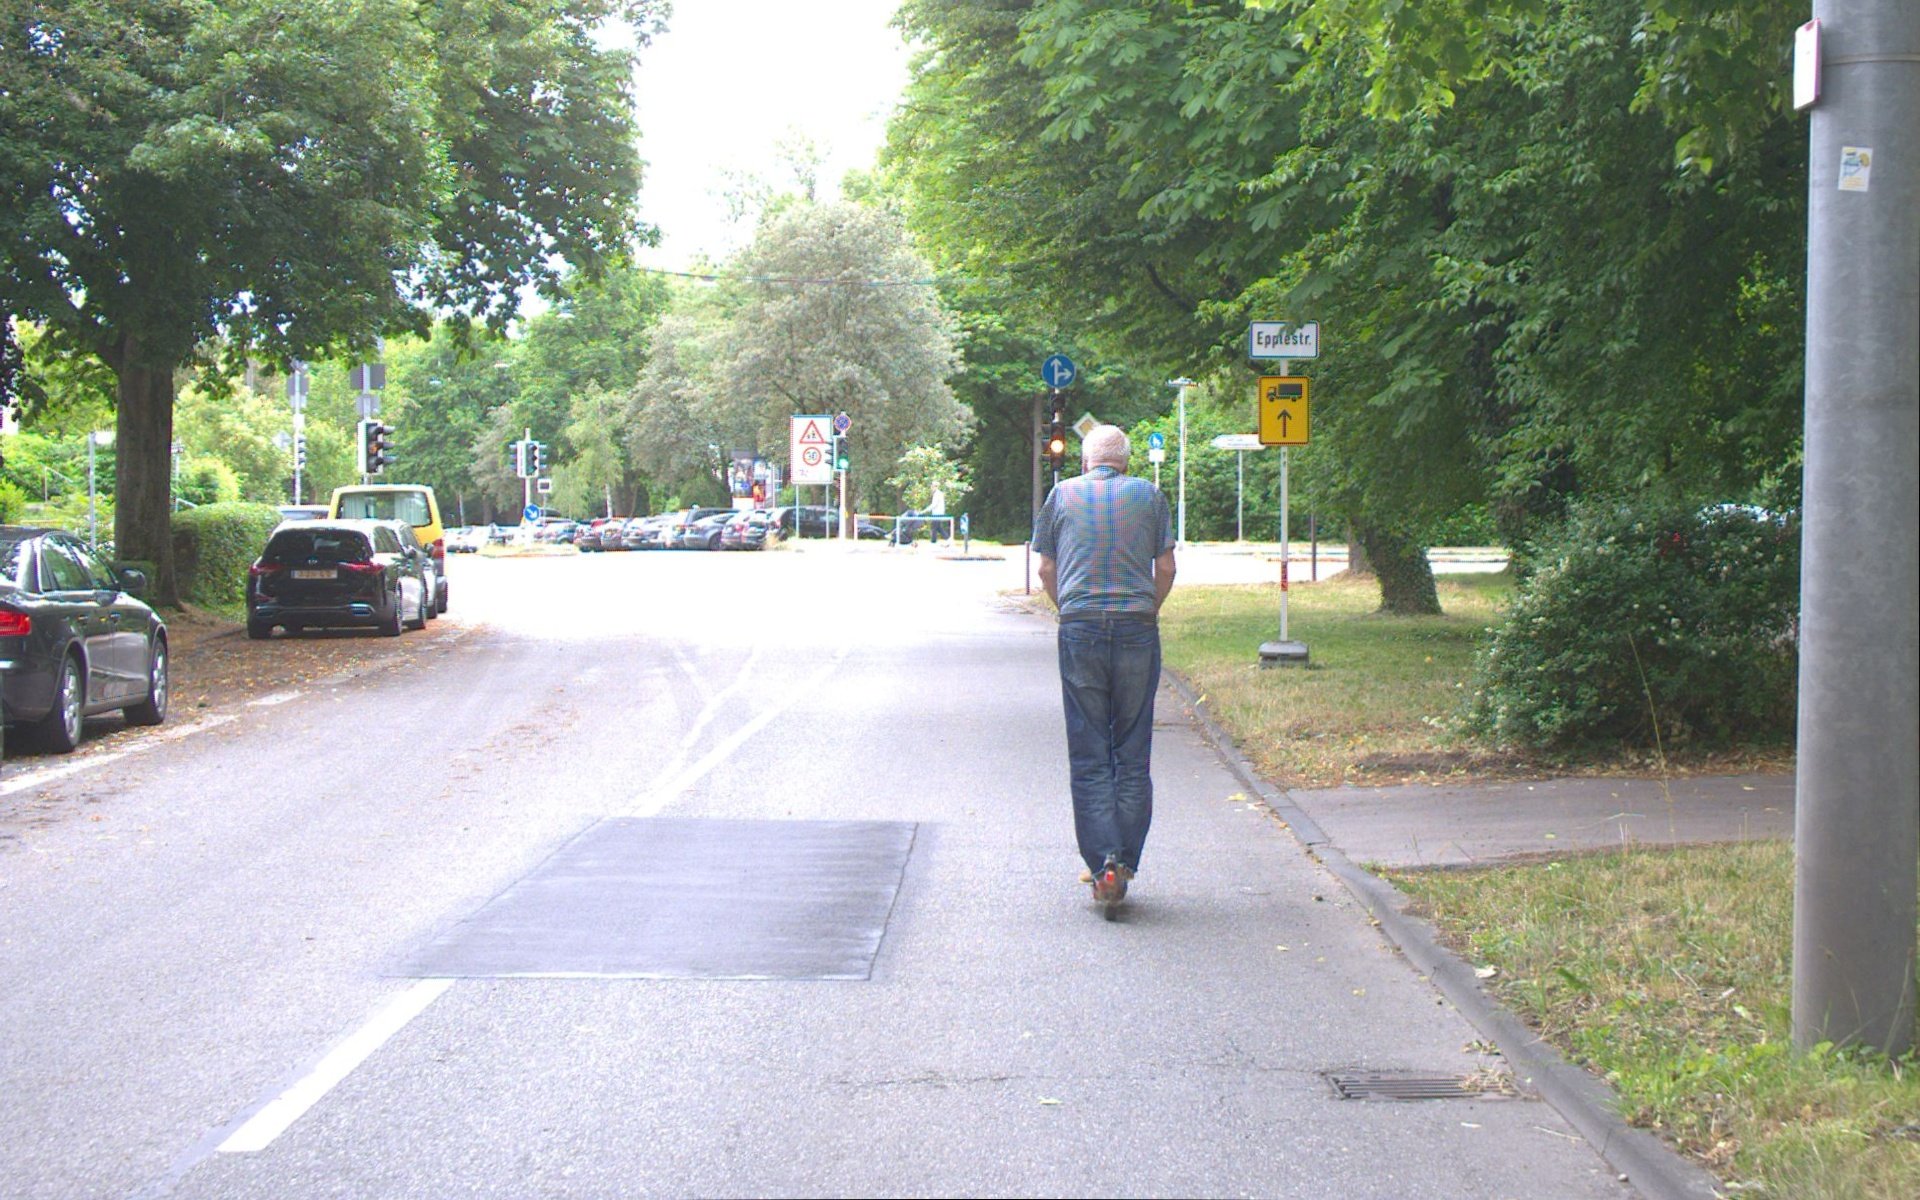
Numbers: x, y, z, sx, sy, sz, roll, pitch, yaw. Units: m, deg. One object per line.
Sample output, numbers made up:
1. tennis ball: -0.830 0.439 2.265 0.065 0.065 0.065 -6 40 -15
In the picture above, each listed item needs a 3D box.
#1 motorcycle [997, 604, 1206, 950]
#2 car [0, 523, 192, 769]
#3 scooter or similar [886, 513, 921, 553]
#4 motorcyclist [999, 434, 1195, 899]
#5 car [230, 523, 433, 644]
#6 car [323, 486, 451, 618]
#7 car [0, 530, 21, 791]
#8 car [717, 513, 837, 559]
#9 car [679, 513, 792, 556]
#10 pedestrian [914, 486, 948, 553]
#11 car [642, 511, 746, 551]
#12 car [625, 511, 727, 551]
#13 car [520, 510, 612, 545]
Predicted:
1. motorcycle: 0.524 0.649 13.203 0.673 1.213 1.274 1 2 -2
2. car: -6.376 0.231 22.580 1.794 1.405 4.646 -1 2 -3
3. scooter or similar: -1.501 -1.793 91.551 0.710 1.045 0.787 0 1 16
4. motorcyclist: 0.523 0.244 13.389 0.673 1.755 0.639 1 2 -2
5. car: -7.777 -0.247 42.907 1.891 1.405 4.555 -1 1 -3
6. car: -8.942 -0.770 53.833 1.857 1.957 4.506 -1 1 -9
7. car: -5.836 0.377 17.034 1.664 1.386 3.708 -1 2 -6
8. car: -6.263 -2.192 117.352 3.986 1.505 1.800 -1 2 -6
9. car: -8.132 -2.377 124.098 3.986 1.505 1.800 -1 2 -6
10. pedestrian: -0.758 -2.141 91.340 0.733 1.755 0.661 0 1 16
11. car: -10.423 -2.699 134.705 3.986 1.505 1.800 -1 2 -6
12. car: -11.276 -2.739 136.558 3.986 1.505 1.800 -1 2 -6
13. car: -17.251 -3.185 150.675 3.986 1.505 1.800 -1 2 -6
